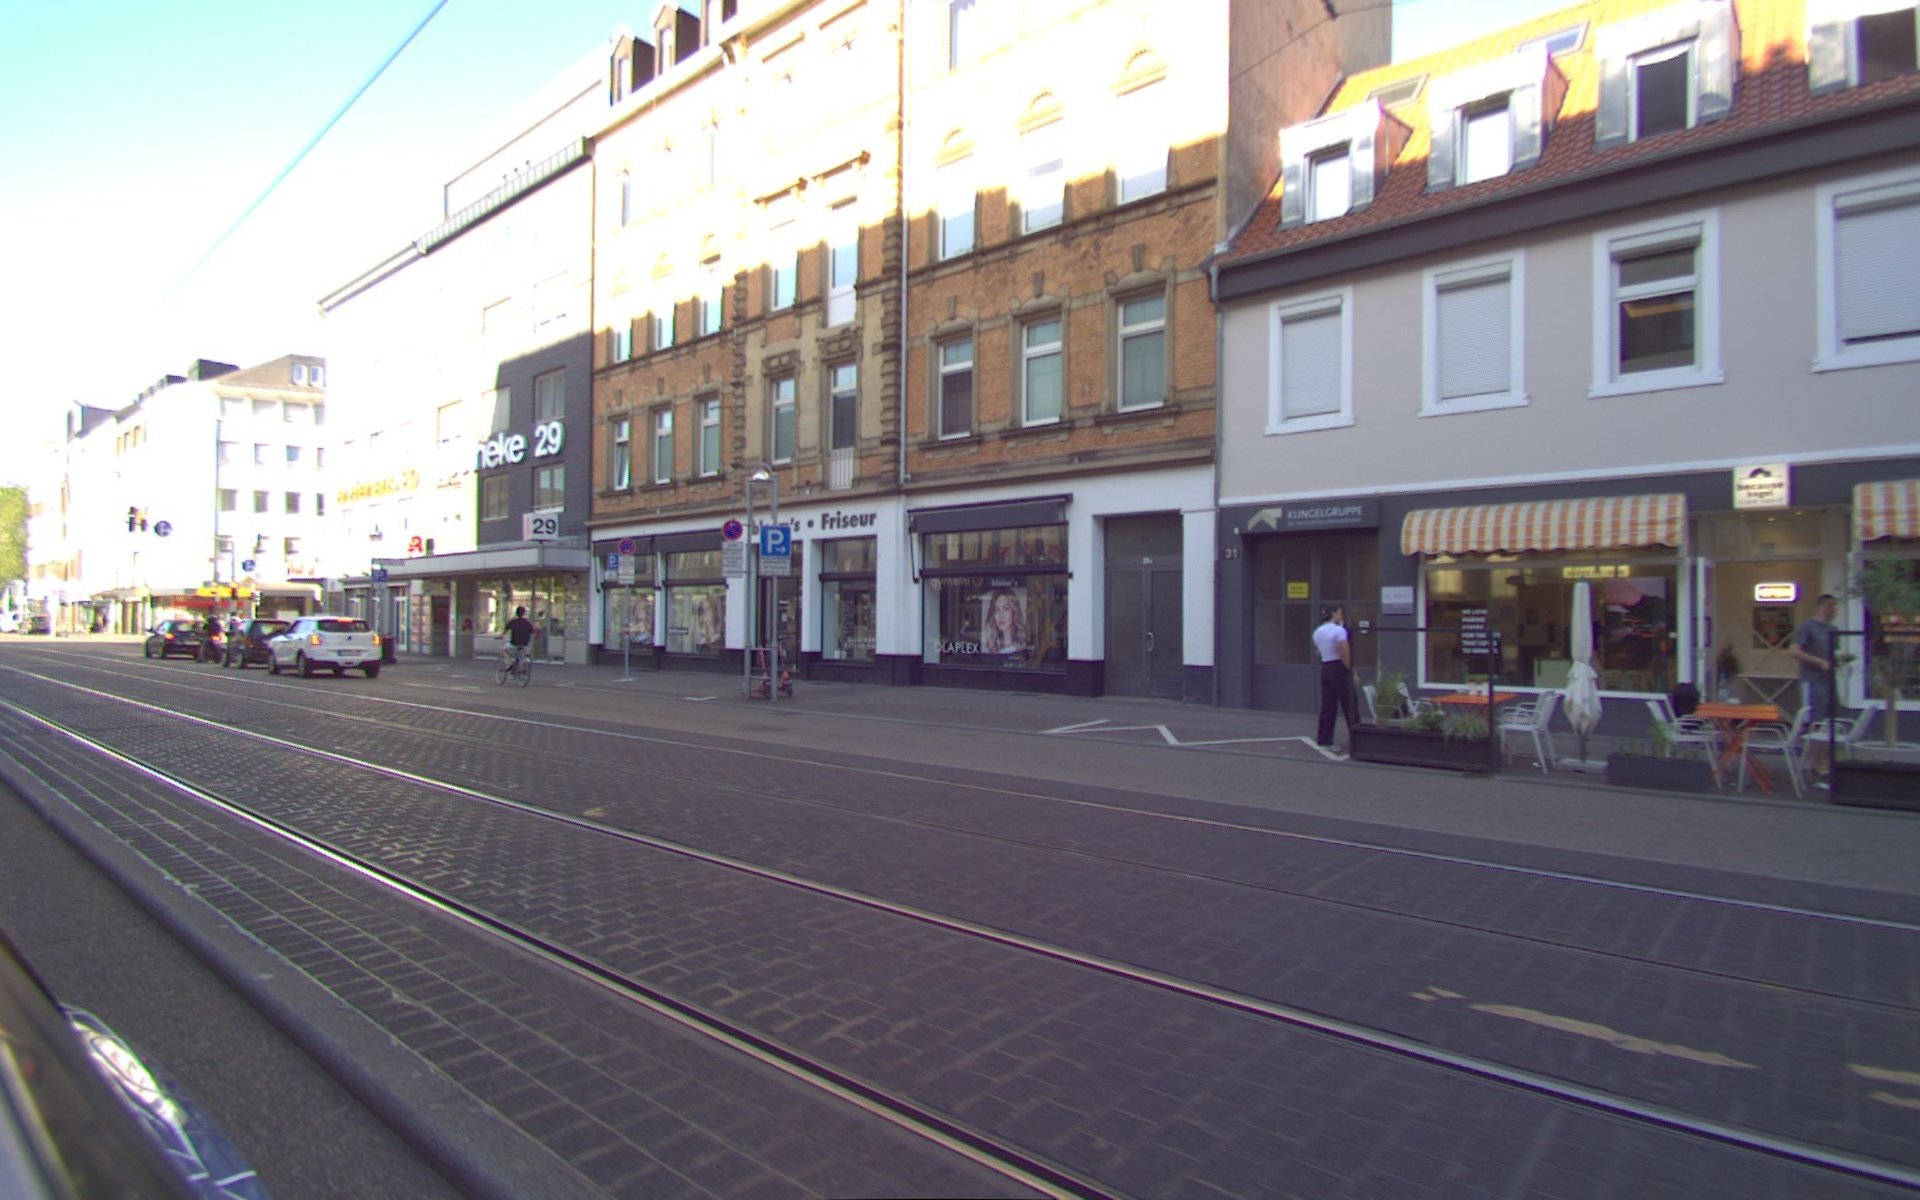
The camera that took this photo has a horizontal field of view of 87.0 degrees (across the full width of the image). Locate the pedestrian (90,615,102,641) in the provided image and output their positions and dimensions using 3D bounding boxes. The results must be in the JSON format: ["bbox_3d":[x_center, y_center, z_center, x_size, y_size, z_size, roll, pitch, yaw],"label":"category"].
[{"bbox_3d":[-66.393,2.149,77.766,0.620,1.965,0.661,-1,0,41],"label":"pedestrian"}]

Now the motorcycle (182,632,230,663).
[{"bbox_3d":[-25.594,1.594,34.356,1.934,1.000,0.895,-1,-3,41],"label":"motorcycle"}]

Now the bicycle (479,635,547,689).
[{"bbox_3d":[-10.339,1.412,23.360,2.099,1.157,0.602,-1,0,41],"label":"bicycle"}]

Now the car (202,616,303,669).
[{"bbox_3d":[-22.236,1.306,31.761,3.998,1.542,1.645,-1,-3,41],"label":"car"}]

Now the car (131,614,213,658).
[{"bbox_3d":[-29.339,1.338,37.637,3.998,1.542,1.645,-1,-3,41],"label":"car"}]

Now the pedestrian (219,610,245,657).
[{"bbox_3d":[-29.410,1.336,40.892,0.635,1.855,0.696,-1,0,41],"label":"pedestrian"}]

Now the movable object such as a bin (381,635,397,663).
[{"bbox_3d":[-19.457,1.657,34.488,0.467,0.955,0.321,-1,-2,41],"label":"movable object such as a bin"}]

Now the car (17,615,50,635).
[{"bbox_3d":[-76.953,2.059,84.038,3.462,1.544,1.609,-1,-4,41],"label":"car"}]

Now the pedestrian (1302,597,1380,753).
[{"bbox_3d":[4.604,0.874,12.230,0.572,1.819,0.660,-1,0,-37],"label":"pedestrian"}]

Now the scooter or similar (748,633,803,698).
[{"bbox_3d":[-3.675,1.280,20.116,1.201,1.232,0.399,-1,0,41],"label":"scooter or similar"}]

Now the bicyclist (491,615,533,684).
[{"bbox_3d":[-10.329,1.126,23.347,0.861,1.559,0.569,-1,0,41],"label":"bicyclist"}]

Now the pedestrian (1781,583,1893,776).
[{"bbox_3d":[8.837,0.771,10.211,0.647,1.863,0.583,-1,0,-19],"label":"pedestrian"}]

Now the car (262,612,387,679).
[{"bbox_3d":[-16.849,1.170,26.770,3.674,1.647,1.779,-1,-3,41],"label":"car"}]

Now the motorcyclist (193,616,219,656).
[{"bbox_3d":[-25.649,1.224,34.418,0.655,1.313,0.533,-1,-4,41],"label":"motorcyclist"}]
